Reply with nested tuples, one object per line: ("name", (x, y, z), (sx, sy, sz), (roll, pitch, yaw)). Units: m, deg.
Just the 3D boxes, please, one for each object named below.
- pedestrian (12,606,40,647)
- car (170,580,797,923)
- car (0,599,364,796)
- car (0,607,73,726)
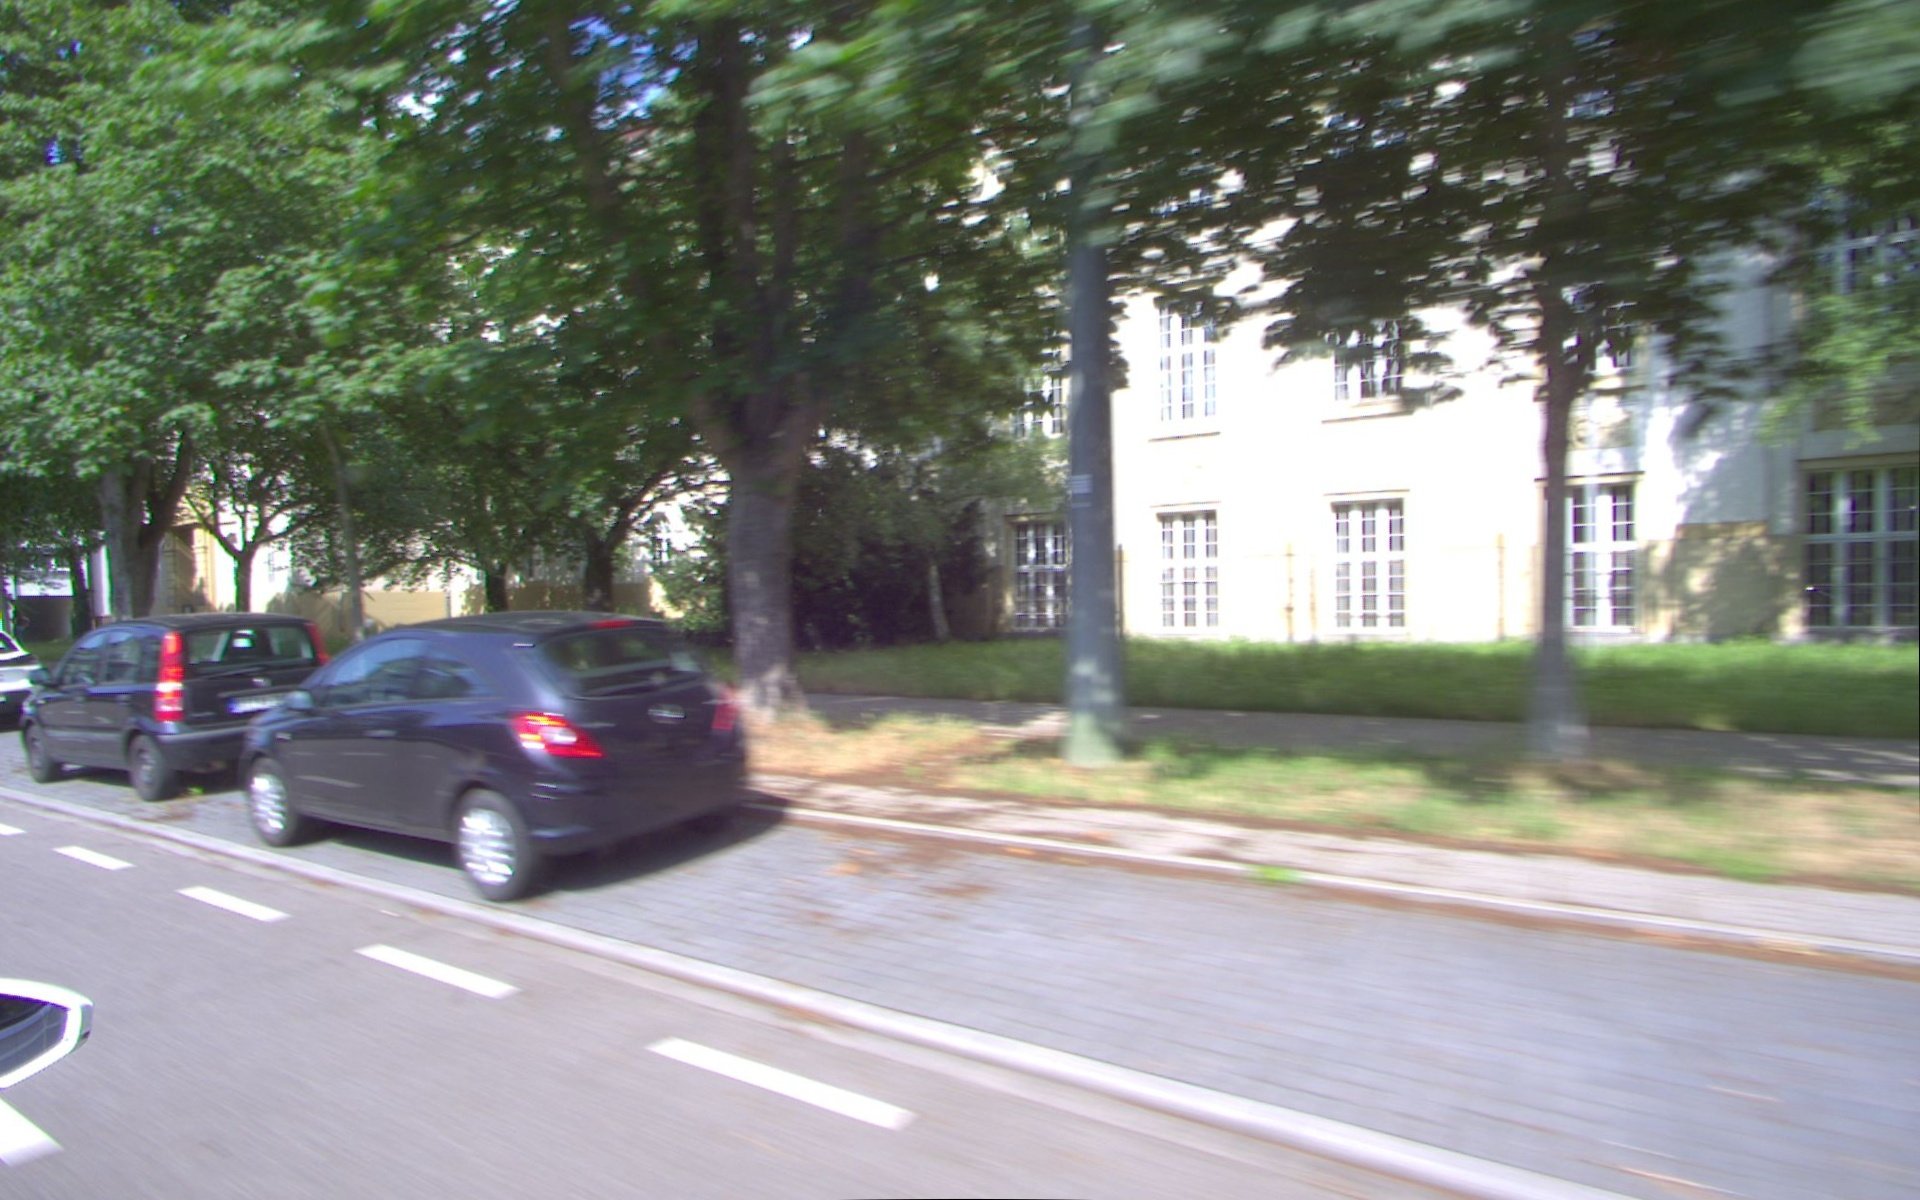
("pedestrian", (-37.287, 1.064, 39.973), (0.532, 1.617, 0.630), (-1, 1, 29))
("car", (-3.284, 0.754, 6.649), (4.246, 1.583, 1.686), (-1, 3, 32))
("car", (-7.517, 0.835, 9.541), (3.506, 1.481, 1.552), (-2, 3, 30))
("car", (-14.722, 0.958, 14.264), (4.190, 1.544, 1.831), (-1, 3, 30))
